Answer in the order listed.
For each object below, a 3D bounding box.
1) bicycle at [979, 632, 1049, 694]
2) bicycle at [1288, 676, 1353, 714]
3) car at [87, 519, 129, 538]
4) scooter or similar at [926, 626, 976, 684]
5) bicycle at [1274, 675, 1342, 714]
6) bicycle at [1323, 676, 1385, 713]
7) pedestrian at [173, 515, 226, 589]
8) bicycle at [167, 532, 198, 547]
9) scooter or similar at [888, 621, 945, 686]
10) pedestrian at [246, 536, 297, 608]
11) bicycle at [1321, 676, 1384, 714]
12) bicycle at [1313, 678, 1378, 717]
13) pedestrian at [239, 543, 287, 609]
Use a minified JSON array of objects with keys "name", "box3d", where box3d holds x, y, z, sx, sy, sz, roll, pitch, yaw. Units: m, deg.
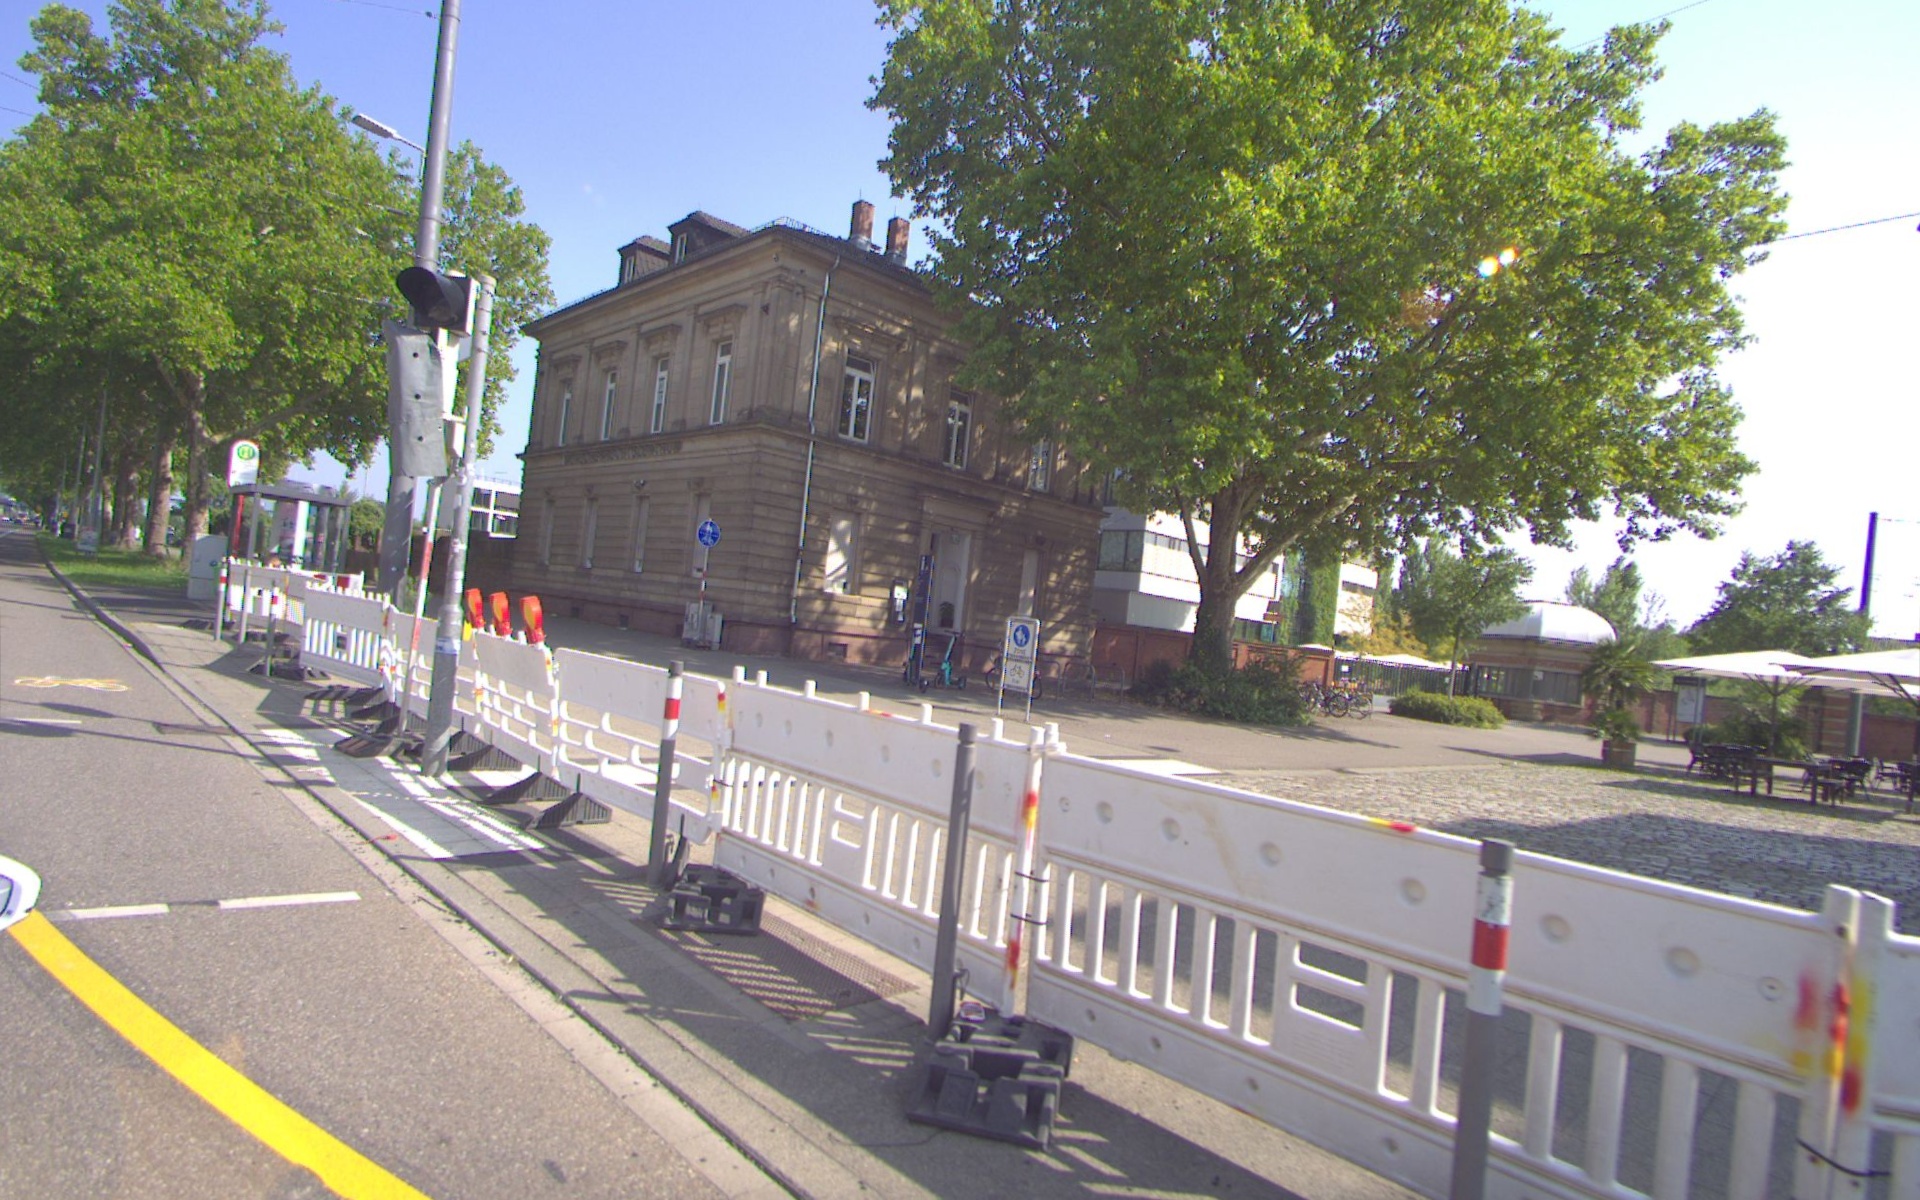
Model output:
[{"name":"bicycle","box3d":[1.177,1.373,22.159,0.495,1.180,1.612,6,0,-38]},{"name":"bicycle","box3d":[10.897,2.865,30.452,0.564,0.871,1.777,6,1,-35]},{"name":"car","box3d":[-110.670,-9.330,130.759,4.084,1.943,1.827,5,0,-41]},{"name":"scooter or similar","box3d":[-0.184,1.187,21.505,0.308,1.146,1.089,6,0,43]},{"name":"bicycle","box3d":[10.279,2.791,29.787,0.642,0.871,1.777,6,1,-35]},{"name":"bicycle","box3d":[12.980,3.103,33.202,0.564,0.911,1.777,6,2,-35]},{"name":"pedestrian","box3d":[-18.281,-1.144,24.195,0.877,1.646,0.814,6,0,-37]},{"name":"bicycle","box3d":[-73.594,-5.702,95.263,0.734,1.089,2.168,6,-1,45]},{"name":"scooter or similar","box3d":[-0.880,1.066,20.303,0.407,1.180,1.213,6,0,-38]},{"name":"pedestrian","box3d":[-13.187,-0.535,19.275,0.749,1.293,0.606,6,1,44]},{"name":"bicycle","box3d":[12.659,3.069,32.504,0.564,0.911,1.777,6,2,-35]},{"name":"bicycle","box3d":[11.852,2.989,30.969,0.564,0.871,1.777,6,1,-35]},{"name":"pedestrian","box3d":[-13.736,-0.474,19.825,0.567,1.234,0.606,6,1,44]}]
